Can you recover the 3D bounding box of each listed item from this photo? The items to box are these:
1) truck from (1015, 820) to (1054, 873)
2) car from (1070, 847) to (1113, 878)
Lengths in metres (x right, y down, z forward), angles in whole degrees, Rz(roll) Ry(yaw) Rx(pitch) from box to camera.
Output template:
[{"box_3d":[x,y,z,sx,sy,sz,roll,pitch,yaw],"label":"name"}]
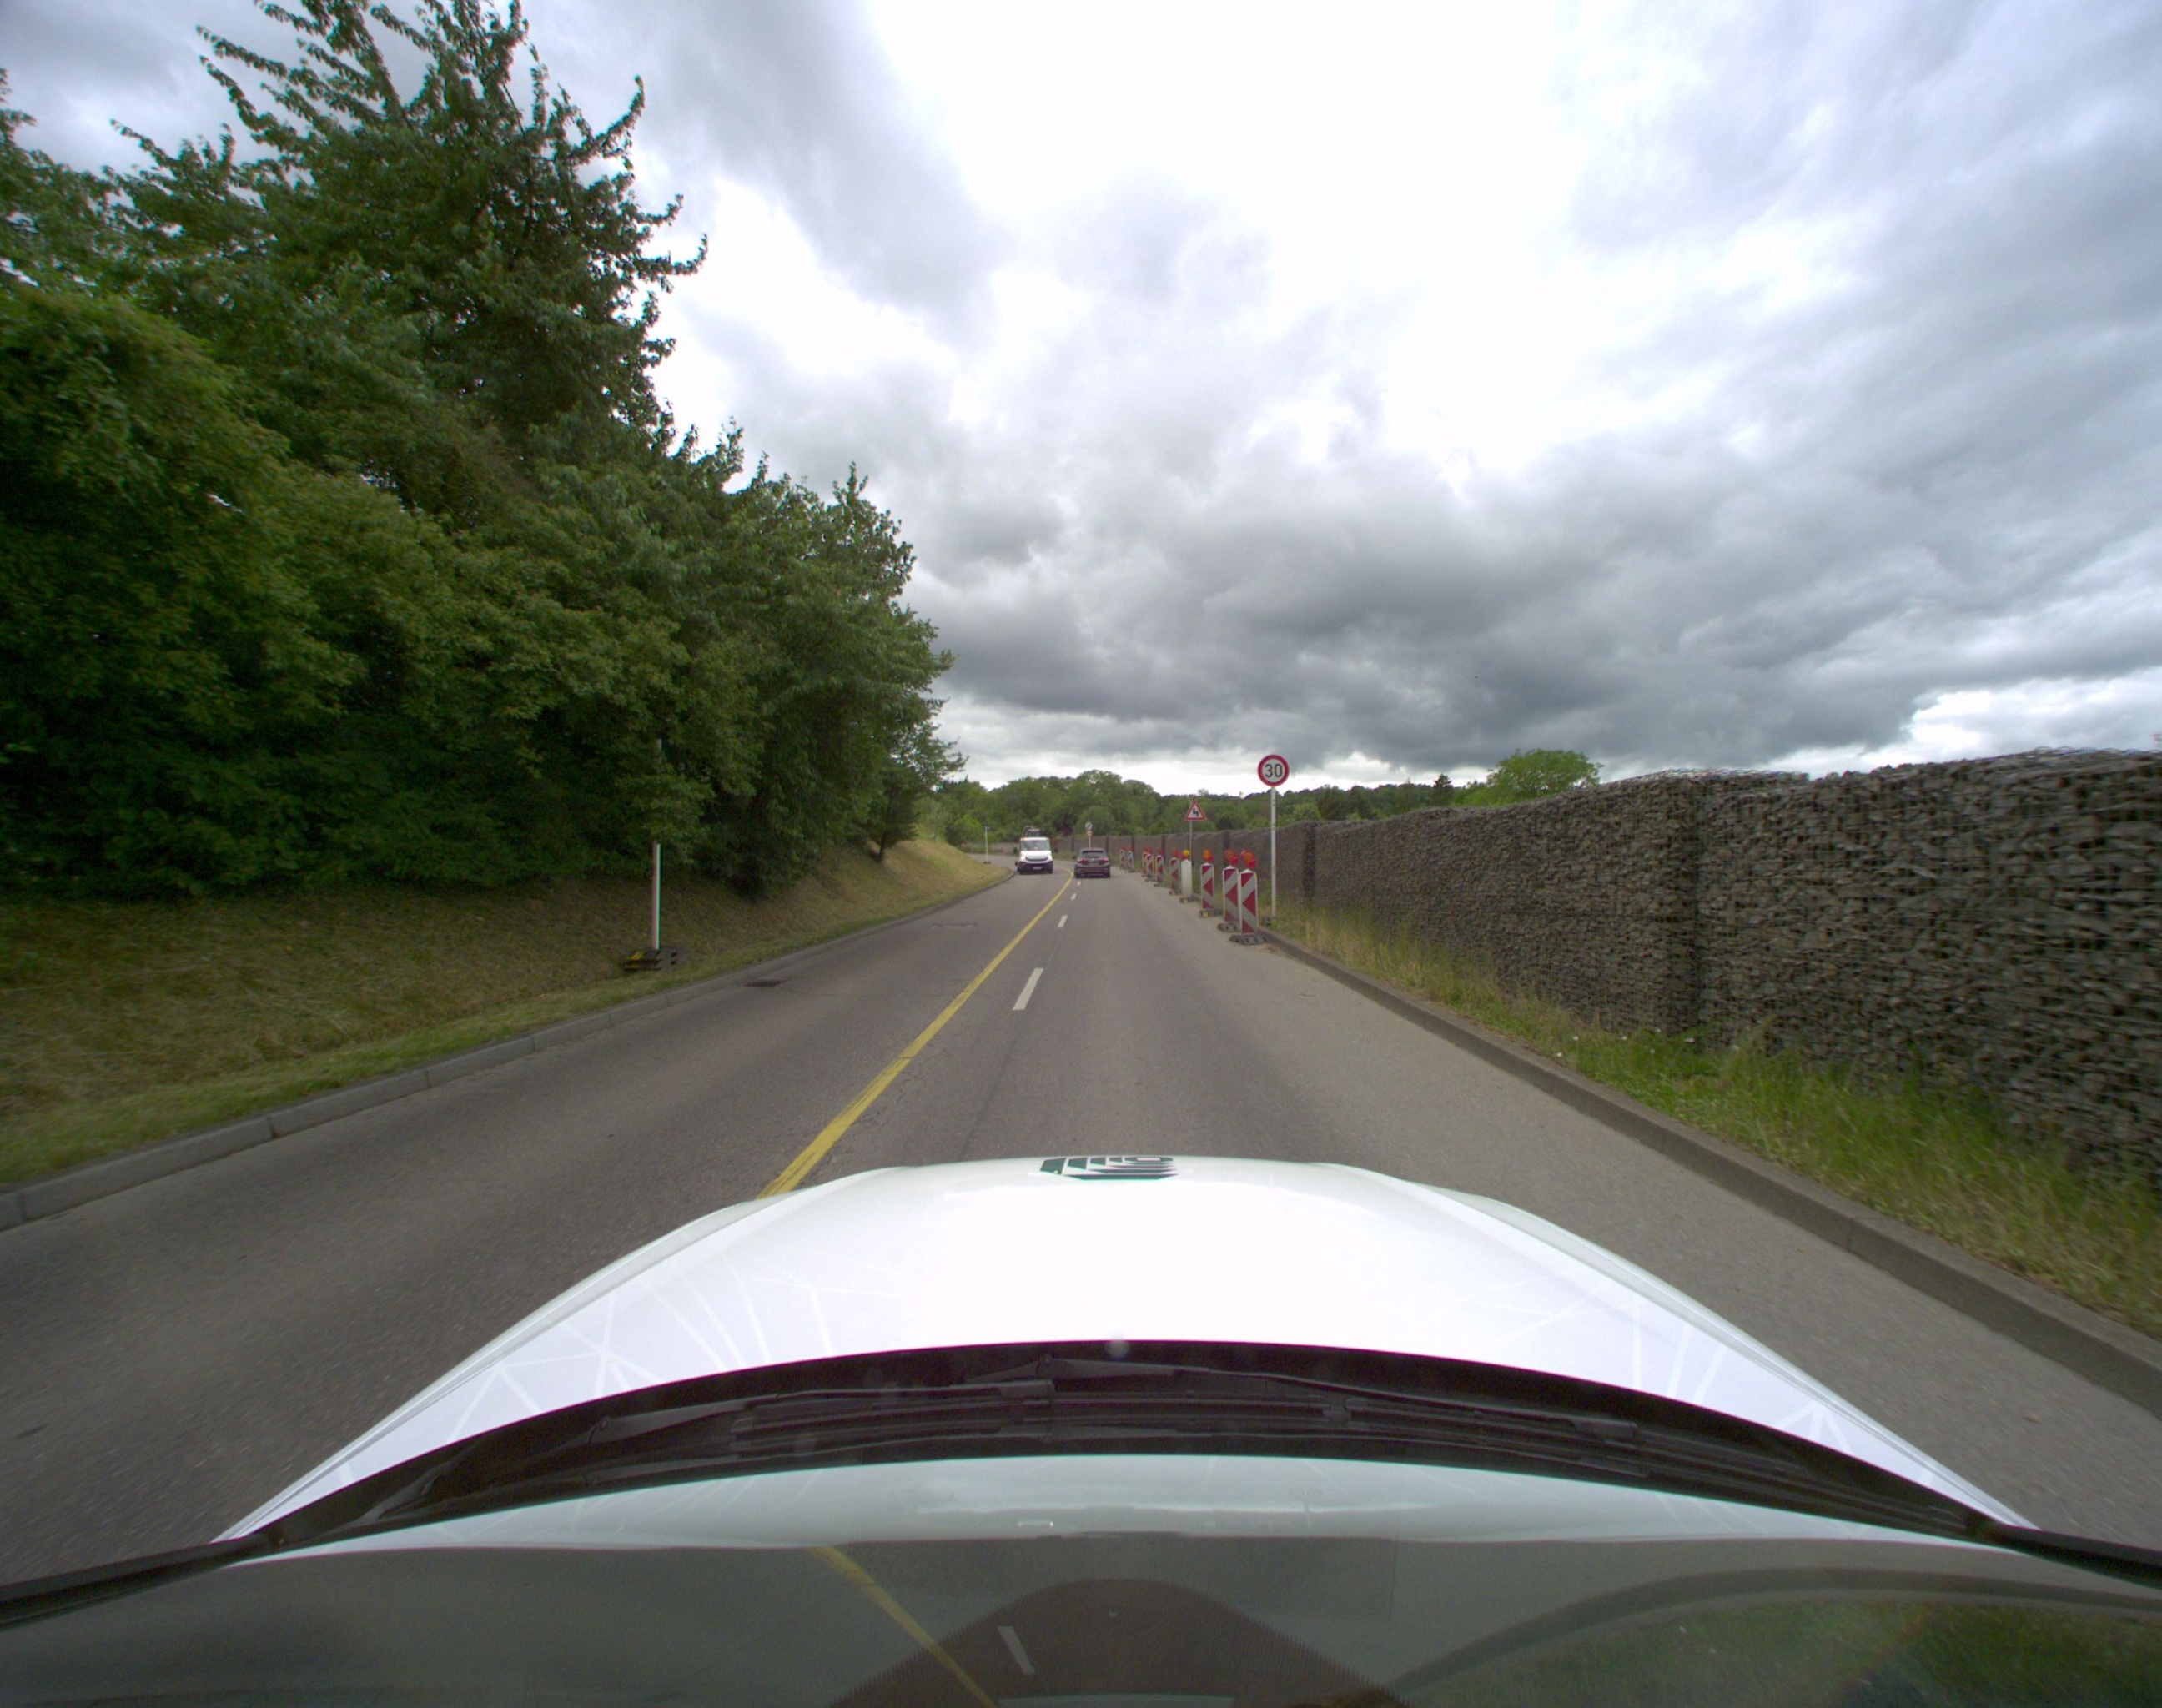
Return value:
[{"box_3d":[-2.892,-0.481,51.422,2.210,3.014,7.731,-1,0,-3],"label":"truck"},{"box_3d":[0.514,0.410,42.626,1.836,1.483,3.993,-2,0,-5],"label":"car"}]
